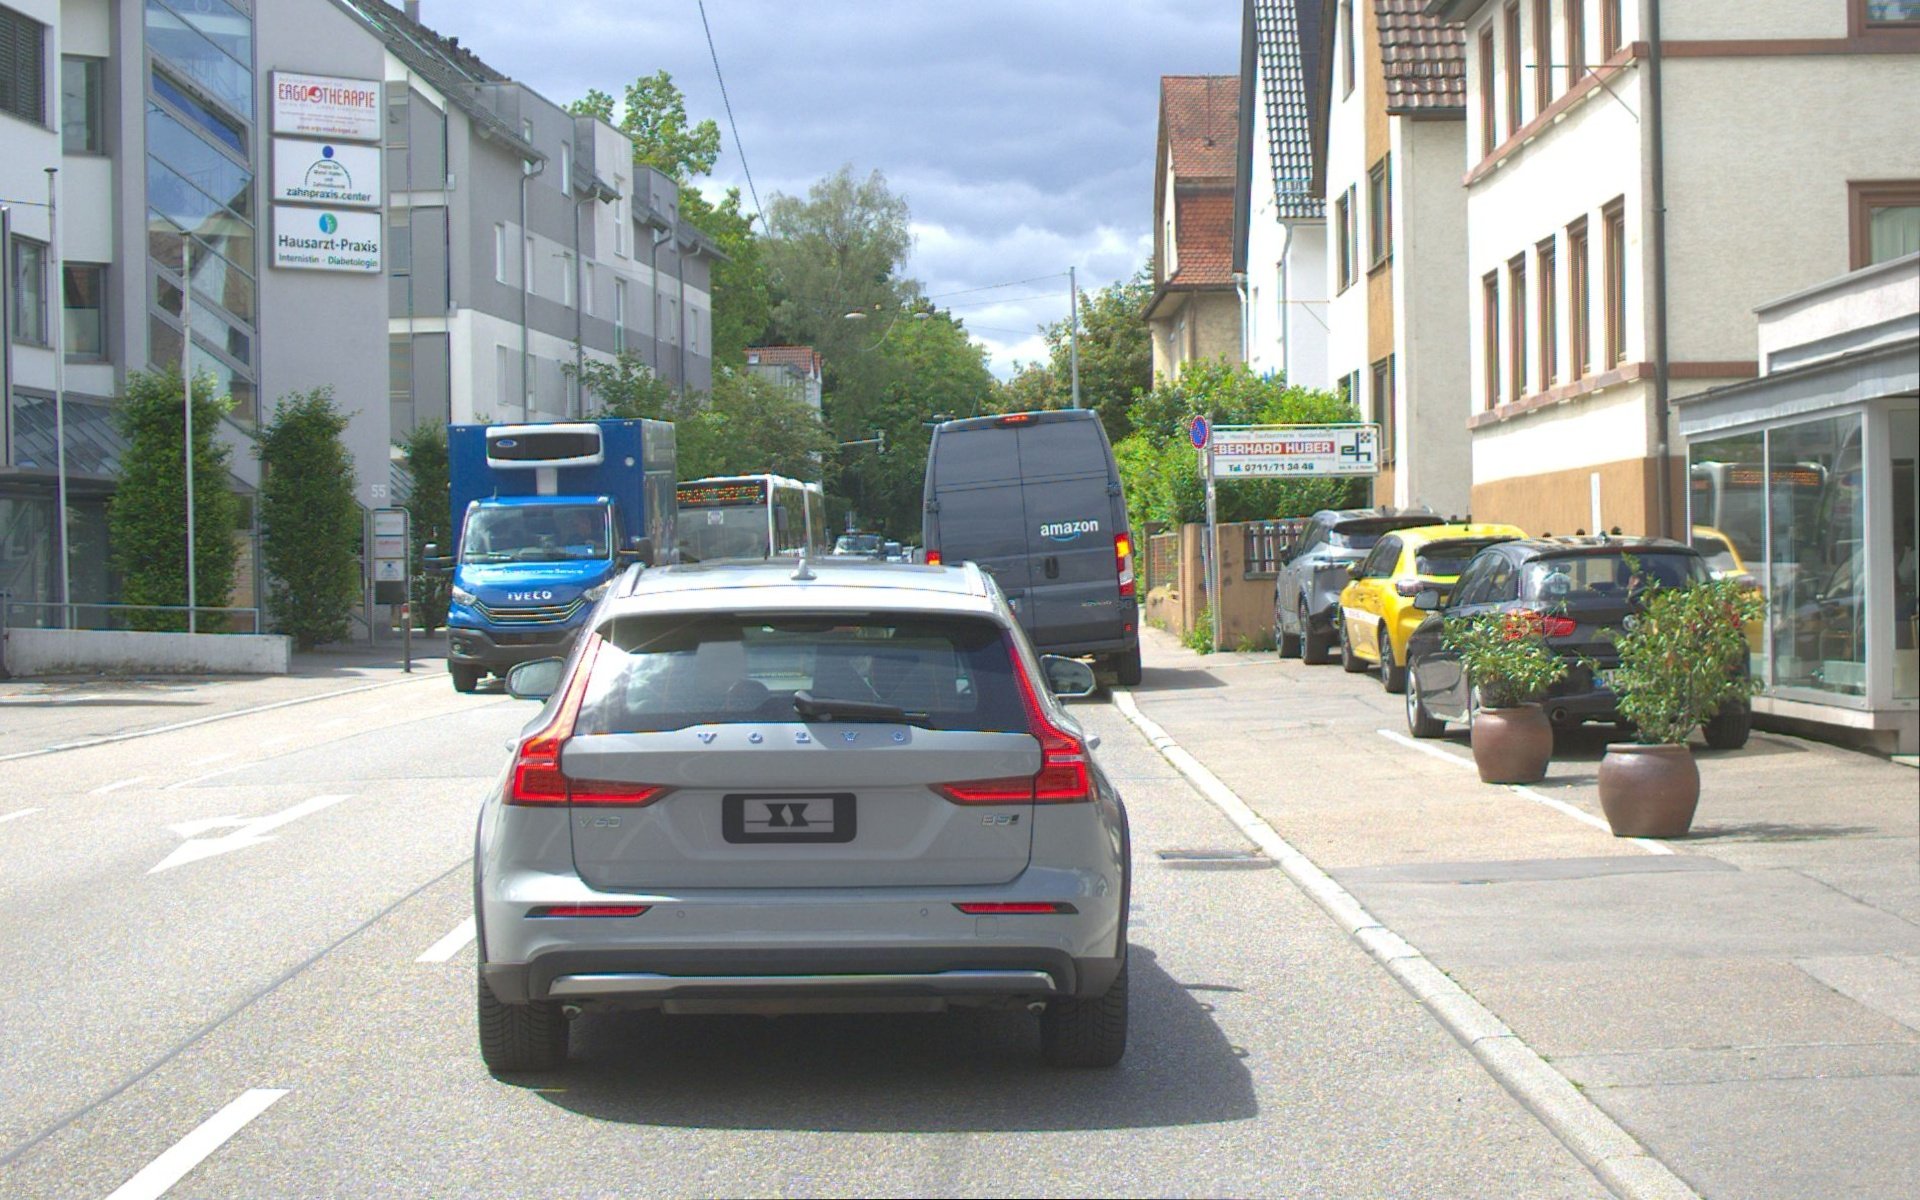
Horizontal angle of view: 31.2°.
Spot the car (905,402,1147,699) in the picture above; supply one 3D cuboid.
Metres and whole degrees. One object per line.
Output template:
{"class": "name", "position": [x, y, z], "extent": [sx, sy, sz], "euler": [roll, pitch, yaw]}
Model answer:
{"class": "car", "position": [0.678, -0.514, 35.514], "extent": [2.252, 2.786, 5.569], "euler": [-1, 1, 1]}

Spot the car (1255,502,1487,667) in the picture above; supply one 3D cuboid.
{"class": "car", "position": [4.371, -0.202, 37.221], "extent": [1.860, 1.606, 4.586], "euler": [-2, 1, -1]}

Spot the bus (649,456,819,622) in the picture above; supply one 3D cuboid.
{"class": "bus", "position": [-4.576, -1.251, 71.610], "extent": [2.682, 3.153, 10.185], "euler": [-1, 1, 1]}

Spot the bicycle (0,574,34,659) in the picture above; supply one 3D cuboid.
{"class": "bicycle", "position": [-12.892, 0.222, 45.554], "extent": [0.630, 1.091, 2.003], "euler": [-1, 1, 1]}

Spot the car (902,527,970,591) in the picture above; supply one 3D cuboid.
{"class": "car", "position": [-0.746, -1.315, 109.144], "extent": [1.993, 2.007, 4.000], "euler": [0, 1, 2]}

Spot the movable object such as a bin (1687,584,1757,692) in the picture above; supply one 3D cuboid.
{"class": "movable object such as a bin", "position": [6.721, 0.330, 30.344], "extent": [0.501, 0.922, 0.598], "euler": [-1, 1, 4]}

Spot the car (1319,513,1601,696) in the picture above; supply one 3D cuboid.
{"class": "car", "position": [4.633, -0.017, 32.433], "extent": [1.877, 1.442, 4.308], "euler": [-1, 3, -2]}

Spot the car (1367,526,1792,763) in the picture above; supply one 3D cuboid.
{"class": "car", "position": [4.175, 0.243, 23.929], "extent": [1.968, 1.442, 4.536], "euler": [-1, 1, -2]}

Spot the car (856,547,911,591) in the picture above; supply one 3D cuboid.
{"class": "car", "position": [-3.008, -1.251, 136.249], "extent": [2.105, 1.704, 4.766], "euler": [-1, 1, -1]}

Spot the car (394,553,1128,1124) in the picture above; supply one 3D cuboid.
{"class": "car", "position": [-0.458, 0.587, 10.854], "extent": [1.896, 1.448, 3.968], "euler": [0, 1, 2]}

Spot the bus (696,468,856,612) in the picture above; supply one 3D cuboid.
{"class": "bus", "position": [-4.217, -1.407, 80.515], "extent": [2.716, 3.153, 8.067], "euler": [-1, 1, 4]}

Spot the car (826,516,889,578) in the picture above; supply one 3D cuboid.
{"class": "car", "position": [-3.748, -1.950, 126.136], "extent": [2.105, 2.114, 4.766], "euler": [-3, 1, -1]}

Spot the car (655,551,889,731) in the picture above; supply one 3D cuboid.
{"class": "car", "position": [-1.592, 0.305, 29.825], "extent": [1.896, 1.441, 3.969], "euler": [0, 1, -2]}

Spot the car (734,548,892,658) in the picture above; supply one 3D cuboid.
{"class": "car", "position": [-1.992, 0.008, 47.514], "extent": [1.896, 1.441, 3.968], "euler": [0, 1, 2]}

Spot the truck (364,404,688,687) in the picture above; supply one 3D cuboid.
{"class": "truck", "position": [-5.132, -0.665, 42.160], "extent": [2.853, 3.082, 8.089], "euler": [-1, 1, 0]}
